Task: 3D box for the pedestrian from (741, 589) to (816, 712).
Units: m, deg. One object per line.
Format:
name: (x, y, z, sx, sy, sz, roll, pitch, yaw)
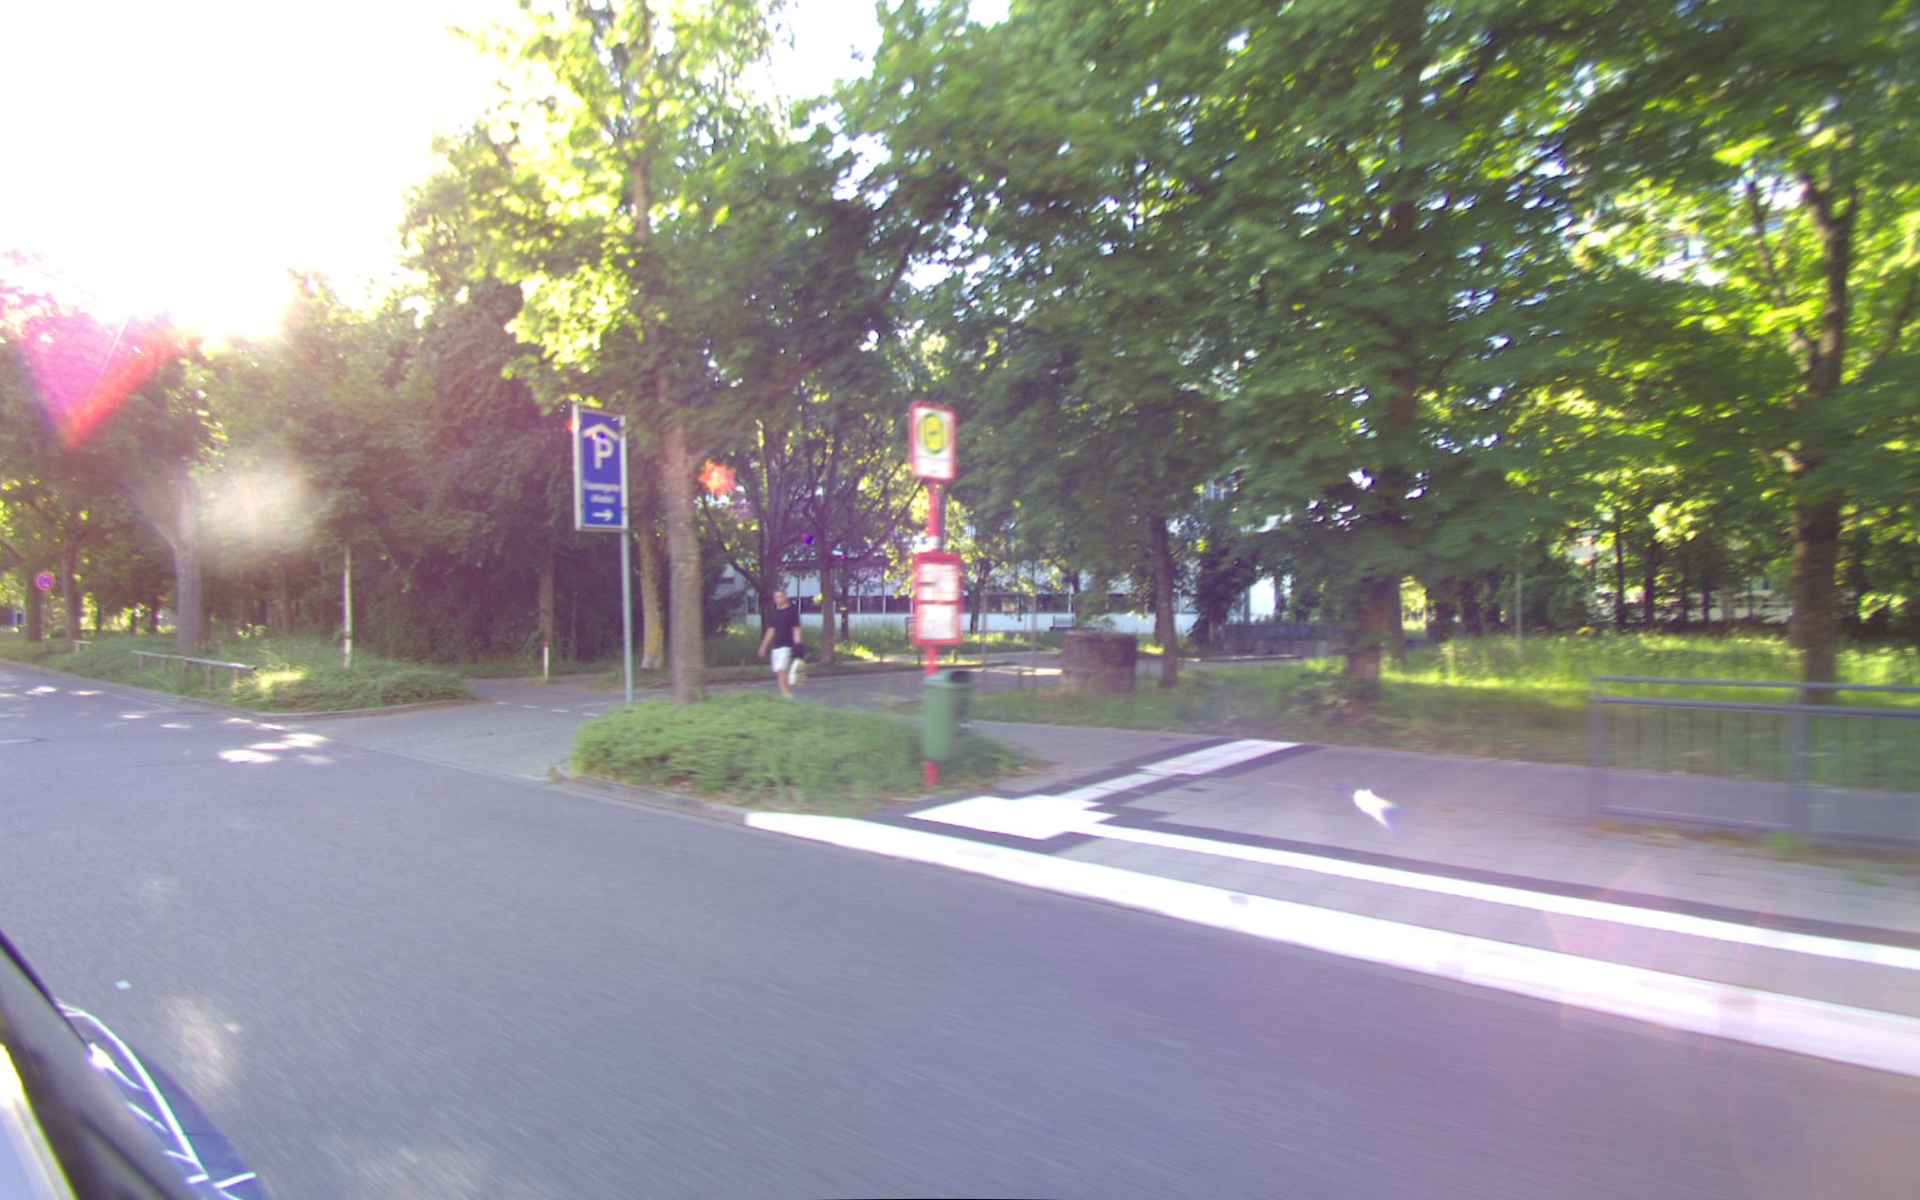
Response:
pedestrian: (-2.813, 0.763, 15.727, 0.720, 1.835, 0.894, -2, -2, 38)
